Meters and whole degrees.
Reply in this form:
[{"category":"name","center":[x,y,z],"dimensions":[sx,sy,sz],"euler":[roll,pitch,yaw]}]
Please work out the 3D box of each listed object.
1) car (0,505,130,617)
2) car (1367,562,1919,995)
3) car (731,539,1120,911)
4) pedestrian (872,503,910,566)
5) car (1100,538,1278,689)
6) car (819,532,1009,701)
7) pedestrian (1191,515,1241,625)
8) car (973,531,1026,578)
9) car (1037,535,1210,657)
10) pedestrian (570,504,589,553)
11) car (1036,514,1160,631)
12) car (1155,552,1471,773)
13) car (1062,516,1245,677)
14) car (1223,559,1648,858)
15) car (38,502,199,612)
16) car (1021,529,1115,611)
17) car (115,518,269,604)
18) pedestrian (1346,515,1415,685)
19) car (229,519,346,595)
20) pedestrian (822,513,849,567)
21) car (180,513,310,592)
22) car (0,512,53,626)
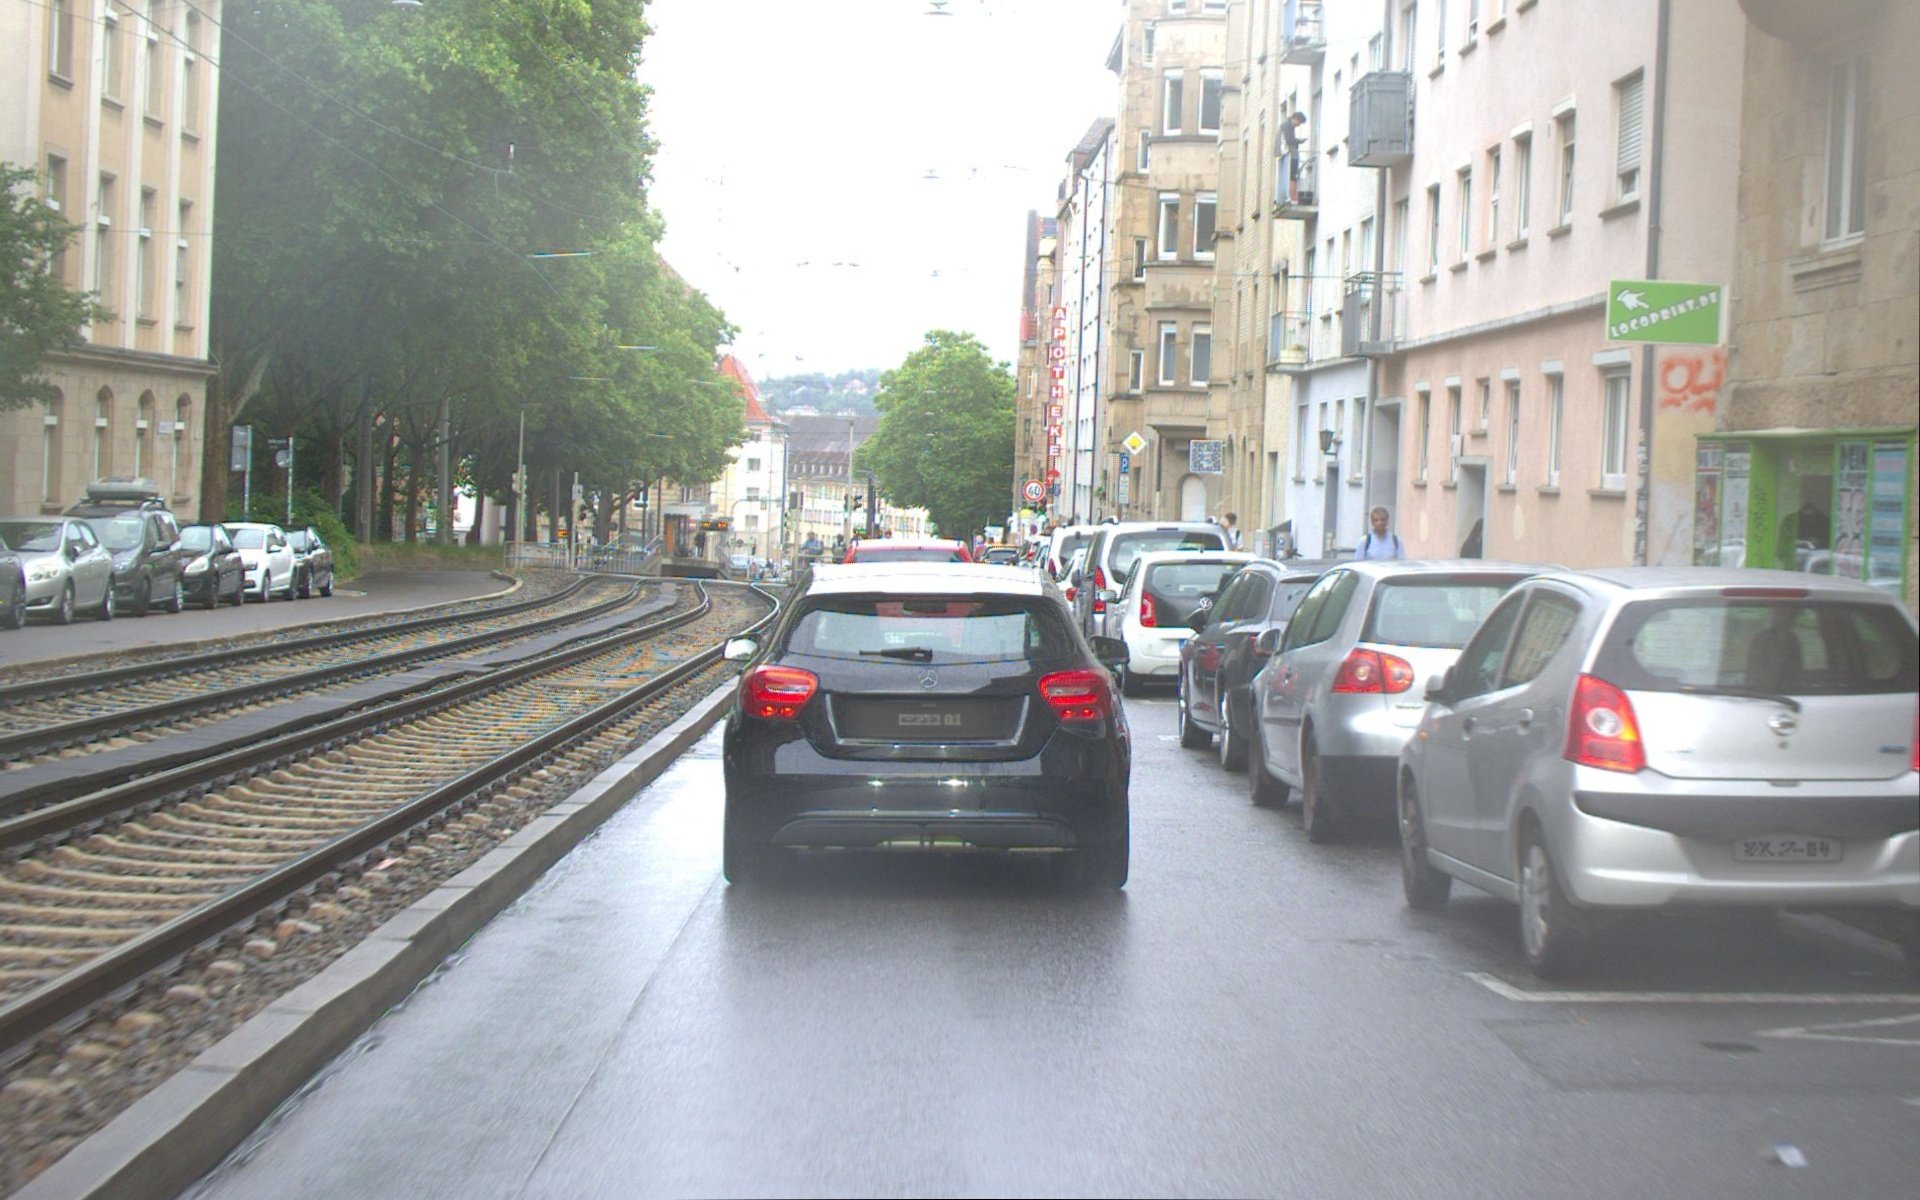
[{"category":"car","center":[-12.930,-0.562,48.441],"dimensions":[1.539,1.500,4.155],"euler":[-1,1,-1]},{"category":"car","center":[2.702,0.590,13.523],"dimensions":[1.590,1.429,3.685],"euler":[0,1,-3]},{"category":"car","center":[-0.175,0.486,16.000],"dimensions":[1.580,1.499,3.575],"euler":[1,1,-1]},{"category":"pedestrian","center":[-2.216,-2.086,109.862],"dimensions":[1.137,1.991,1.173],"euler":[0,1,-4]},{"category":"car","center":[2.319,0.099,35.477],"dimensions":[1.570,1.457,3.600],"euler":[1,1,0]},{"category":"car","center":[-0.456,0.119,34.790],"dimensions":[1.785,1.575,4.000],"euler":[1,1,0]},{"category":"pedestrian","center":[4.317,-0.517,58.100],"dimensions":[0.746,1.827,1.039],"euler":[-1,1,1]},{"category":"car","center":[1.391,-1.630,121.834],"dimensions":[1.827,1.612,3.864],"euler":[0,1,0]},{"category":"car","center":[2.078,-0.096,44.934],"dimensions":[1.871,1.450,4.903],"euler":[1,1,-2]},{"category":"pedestrian","center":[-13.988,-2.634,126.406],"dimensions":[0.534,1.748,0.607],"euler":[3,1,0]},{"category":"car","center":[2.150,-0.464,54.439],"dimensions":[1.828,1.744,4.467],"euler":[1,1,1]},{"category":"car","center":[2.451,0.381,24.813],"dimensions":[1.669,1.405,4.312],"euler":[1,1,-2]},{"category":"car","center":[2.189,-0.084,39.863],"dimensions":[1.790,1.759,4.212],"euler":[0,1,-1]},{"category":"car","center":[2.486,0.513,18.866],"dimensions":[1.668,1.429,3.957],"euler":[0,1,-2]},{"category":"car","center":[-13.111,-0.692,53.747],"dimensions":[1.576,1.637,4.072],"euler":[-1,1,-1]},{"category":"car","center":[2.108,-0.609,67.840],"dimensions":[1.693,1.524,4.000],"euler":[1,1,0]},{"category":"car","center":[-13.102,-0.684,58.851],"dimensions":[1.675,1.409,4.010],"euler":[-1,1,1]},{"category":"pedestrian","center":[4.414,-0.009,36.111],"dimensions":[0.607,1.757,0.688],"euler":[-1,1,-1]},{"category":"car","center":[-13.314,-0.877,68.256],"dimensions":[1.614,1.424,3.853],"euler":[1,2,-1]},{"category":"pedestrian","center":[-3.811,-1.849,105.310],"dimensions":[0.806,1.628,0.892],"euler":[0,1,0]},{"category":"car","center":[-13.136,-0.893,63.324],"dimensions":[1.500,1.386,3.987],"euler":[-1,1,1]},{"category":"car","center":[-12.744,-0.393,43.535],"dimensions":[1.539,1.409,3.953],"euler":[-1,1,-1]}]
